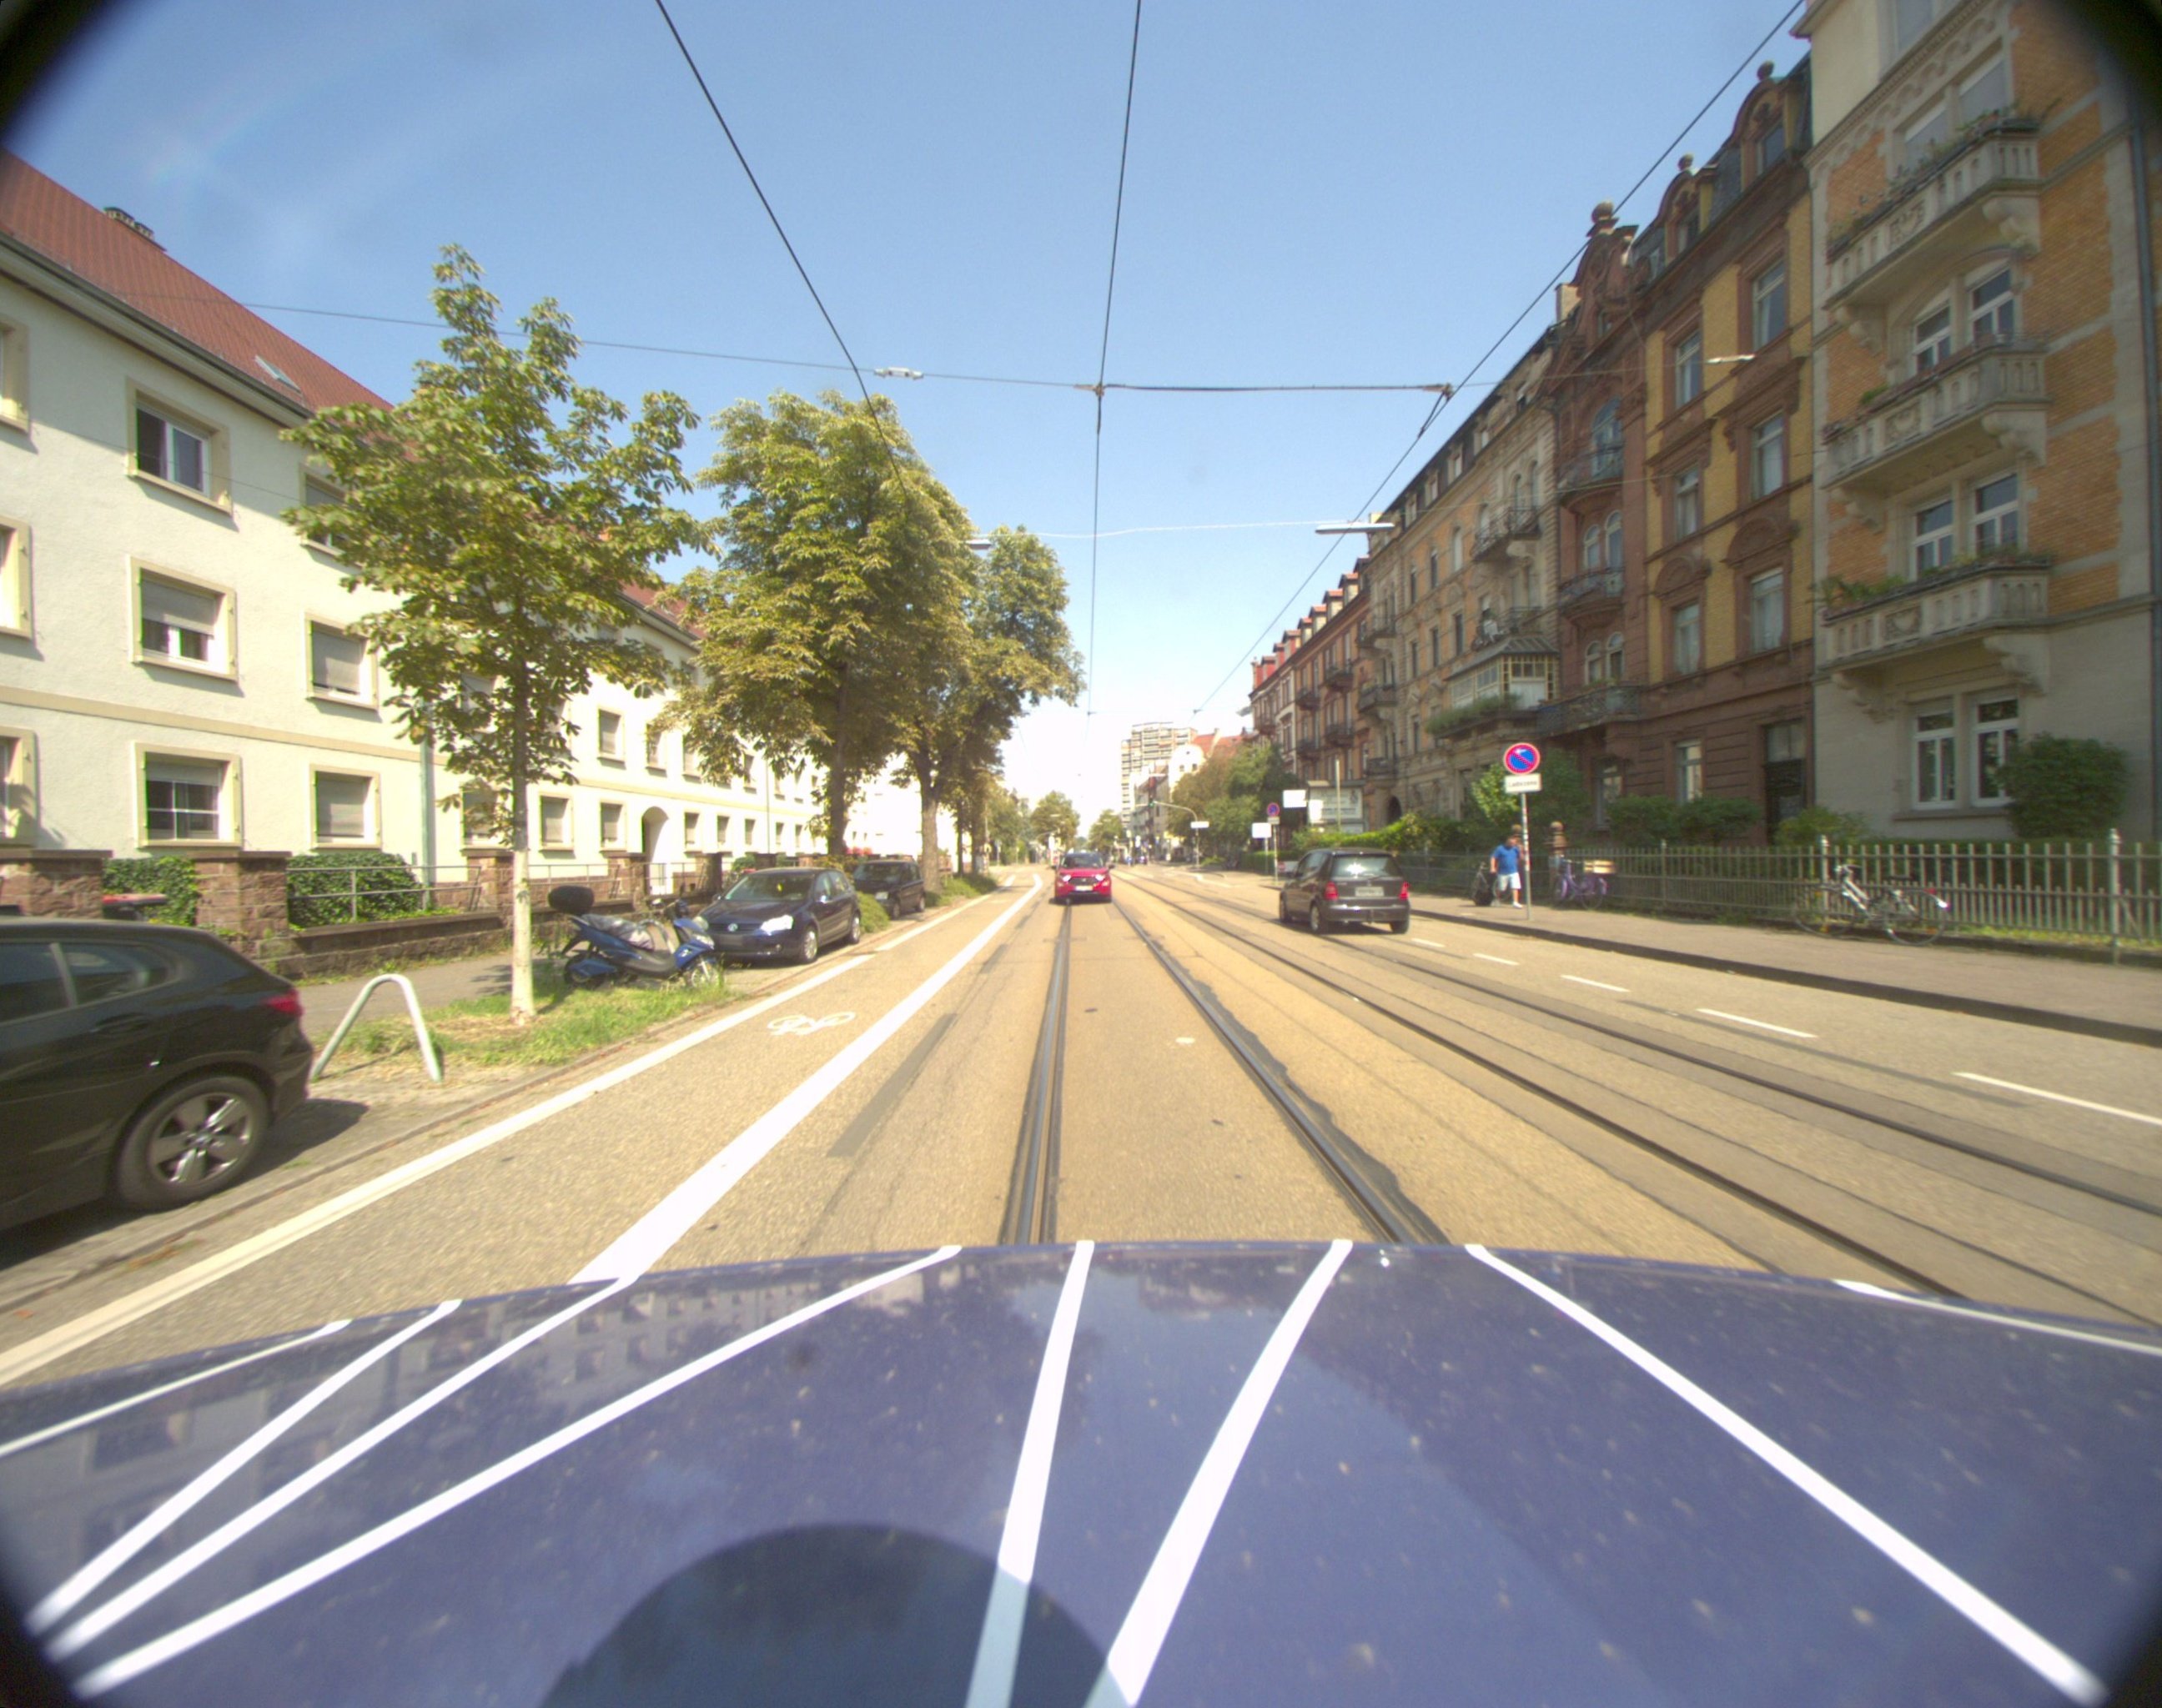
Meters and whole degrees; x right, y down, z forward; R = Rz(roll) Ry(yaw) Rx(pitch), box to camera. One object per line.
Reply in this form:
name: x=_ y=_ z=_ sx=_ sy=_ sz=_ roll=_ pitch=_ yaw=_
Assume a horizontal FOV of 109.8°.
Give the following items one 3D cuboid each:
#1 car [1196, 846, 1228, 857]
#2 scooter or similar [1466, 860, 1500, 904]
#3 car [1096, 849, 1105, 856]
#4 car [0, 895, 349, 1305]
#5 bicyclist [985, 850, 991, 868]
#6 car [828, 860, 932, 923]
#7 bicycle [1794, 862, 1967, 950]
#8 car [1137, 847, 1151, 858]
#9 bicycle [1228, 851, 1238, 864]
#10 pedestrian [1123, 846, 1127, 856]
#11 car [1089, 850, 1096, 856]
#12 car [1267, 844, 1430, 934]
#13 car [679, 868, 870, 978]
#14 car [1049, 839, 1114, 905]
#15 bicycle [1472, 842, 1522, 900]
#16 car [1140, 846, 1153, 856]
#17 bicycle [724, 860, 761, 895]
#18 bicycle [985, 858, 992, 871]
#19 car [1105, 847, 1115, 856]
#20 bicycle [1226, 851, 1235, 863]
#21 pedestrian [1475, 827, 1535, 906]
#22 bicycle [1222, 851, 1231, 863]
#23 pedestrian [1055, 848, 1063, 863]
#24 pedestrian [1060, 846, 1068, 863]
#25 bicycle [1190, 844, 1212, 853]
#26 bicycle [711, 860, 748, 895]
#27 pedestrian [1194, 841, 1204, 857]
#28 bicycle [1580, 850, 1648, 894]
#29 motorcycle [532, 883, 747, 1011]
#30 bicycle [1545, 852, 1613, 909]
car: x=20.948 y=-0.338 z=121.428 sx=4.617 sy=1.716 sz=2.004 roll=0 pitch=1 yaw=44
scooter or similar: x=9.439 y=0.653 z=17.850 sx=0.401 sy=0.977 sz=0.584 roll=-3 pitch=1 yaw=-8
car: x=4.416 y=-0.349 z=172.102 sx=1.998 sy=1.716 sz=4.631 roll=0 pitch=0 yaw=3
car: x=-5.180 y=1.049 z=2.218 sx=1.760 sy=1.469 sz=4.456 roll=2 pitch=1 yaw=0
bicyclist: x=-7.681 y=0.389 z=62.982 sx=0.438 sy=1.503 sz=0.472 roll=-1 pitch=1 yaw=-2
car: x=-5.420 y=0.953 z=20.942 sx=1.620 sy=1.521 sz=3.500 roll=0 pitch=1 yaw=6
bicycle: x=10.579 y=0.647 z=10.148 sx=0.391 sy=1.032 sz=1.833 roll=-1 pitch=0 yaw=1
car: x=8.877 y=-0.209 z=107.224 sx=1.731 sy=1.425 sz=4.177 roll=-1 pitch=1 yaw=3
bicycle: x=11.557 y=0.236 z=57.777 sx=0.488 sy=0.980 sz=1.657 roll=-1 pitch=0 yaw=3
pedestrian: x=5.908 y=-0.397 z=102.004 sx=0.480 sy=1.243 sz=0.648 roll=-1 pitch=1 yaw=1
car: x=3.423 y=-0.387 z=231.062 sx=1.998 sy=1.716 sz=4.630 roll=0 pitch=0 yaw=0
car: x=5.094 y=0.594 z=15.082 sx=1.831 sy=1.531 sz=4.000 roll=0 pitch=0 yaw=0
car: x=-4.988 y=1.037 z=12.982 sx=1.621 sy=1.469 sz=4.038 roll=0 pitch=1 yaw=0
car: x=0.037 y=0.536 z=24.533 sx=1.803 sy=1.801 sz=4.416 roll=-4 pitch=0 yaw=1
bicycle: x=10.535 y=0.407 z=19.278 sx=0.391 sy=1.398 sz=1.581 roll=-1 pitch=1 yaw=1
car: x=11.538 y=-0.461 z=133.782 sx=1.998 sy=1.716 sz=4.630 roll=0 pitch=0 yaw=0
bicycle: x=-11.160 y=0.761 z=25.109 sx=0.469 sy=1.087 sz=1.717 roll=-1 pitch=1 yaw=-1
bicycle: x=-7.672 y=0.860 z=62.926 sx=0.441 sy=1.041 sz=1.828 roll=-1 pitch=1 yaw=-2
car: x=5.605 y=-0.440 z=147.468 sx=1.998 sy=1.716 sz=4.631 roll=0 pitch=0 yaw=1
bicycle: x=11.717 y=0.249 z=59.546 sx=0.488 sy=0.936 sz=1.657 roll=-1 pitch=0 yaw=3
pedestrian: x=9.666 y=0.265 z=17.361 sx=0.885 sy=1.746 sz=0.870 roll=-1 pitch=1 yaw=0
bicycle: x=11.962 y=0.237 z=62.431 sx=0.488 sy=1.016 sz=1.778 roll=-1 pitch=0 yaw=3
pedestrian: x=-2.635 y=0.168 z=91.490 sx=0.674 sy=1.874 sz=0.923 roll=-1 pitch=1 yaw=10
pedestrian: x=-1.939 y=0.090 z=85.573 sx=0.676 sy=1.874 sz=0.921 roll=-1 pitch=1 yaw=-19
bicycle: x=18.952 y=-0.885 z=120.091 sx=1.225 sy=1.428 sz=3.475 roll=-2 pitch=1 yaw=-40
bicycle: x=-11.722 y=0.766 z=25.384 sx=0.469 sy=1.087 sz=1.717 roll=-1 pitch=1 yaw=-1
pedestrian: x=15.536 y=-0.670 z=100.199 sx=1.094 sy=2.002 sz=1.036 roll=-2 pitch=1 yaw=-1
bicycle: x=13.010 y=0.442 z=18.559 sx=1.403 sy=1.026 sz=0.391 roll=-1 pitch=1 yaw=-2
motorcycle: x=-5.125 y=1.053 z=8.931 sx=2.009 sy=1.360 sz=0.782 roll=-1 pitch=1 yaw=-3
bicycle: x=10.470 y=0.528 z=16.034 sx=0.391 sy=1.141 sz=1.581 roll=-1 pitch=1 yaw=1
